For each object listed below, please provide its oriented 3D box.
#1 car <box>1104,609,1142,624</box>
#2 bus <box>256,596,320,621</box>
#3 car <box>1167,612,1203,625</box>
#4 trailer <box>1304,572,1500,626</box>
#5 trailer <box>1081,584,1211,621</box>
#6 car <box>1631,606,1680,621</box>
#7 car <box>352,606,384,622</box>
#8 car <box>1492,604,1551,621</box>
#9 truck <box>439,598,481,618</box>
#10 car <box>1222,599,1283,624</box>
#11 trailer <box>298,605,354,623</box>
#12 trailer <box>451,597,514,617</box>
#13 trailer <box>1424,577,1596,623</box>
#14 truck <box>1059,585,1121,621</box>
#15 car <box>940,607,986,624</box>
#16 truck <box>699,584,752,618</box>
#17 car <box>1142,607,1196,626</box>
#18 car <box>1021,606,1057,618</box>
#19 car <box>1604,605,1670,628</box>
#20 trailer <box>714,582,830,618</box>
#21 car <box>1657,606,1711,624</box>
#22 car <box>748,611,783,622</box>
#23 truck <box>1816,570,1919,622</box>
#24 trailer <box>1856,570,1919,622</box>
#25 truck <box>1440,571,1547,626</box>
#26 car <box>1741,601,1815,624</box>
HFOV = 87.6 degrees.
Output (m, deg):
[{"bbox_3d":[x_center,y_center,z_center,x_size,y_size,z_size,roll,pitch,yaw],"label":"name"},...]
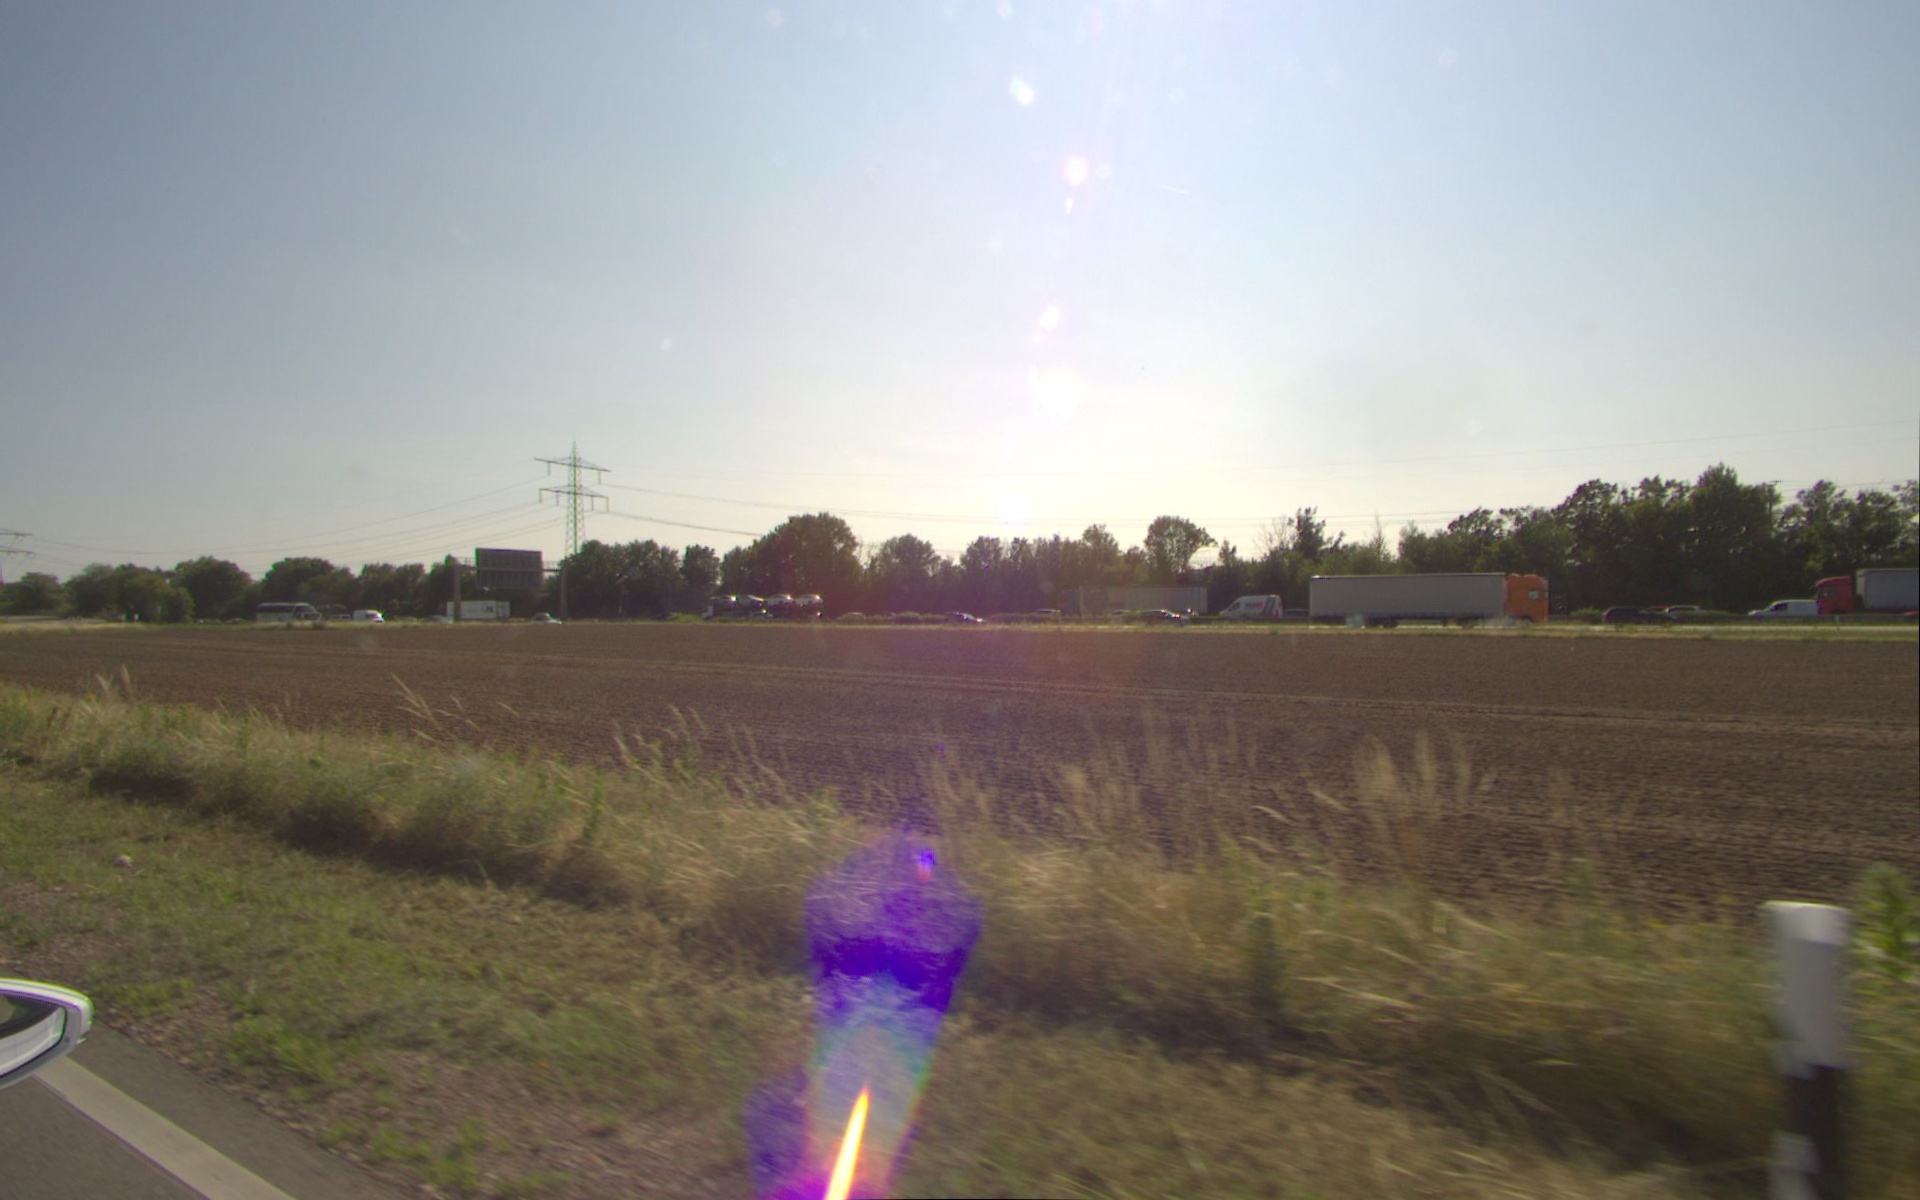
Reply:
[{"bbox_3d":[16.430,1.667,100.895,3.550,1.403,1.489,0,-1,32],"label":"car"},{"bbox_3d":[-108.725,1.366,161.952,14.325,3.854,2.460,0,0,29],"label":"bus"},{"bbox_3d":[21.787,1.765,96.861,3.135,1.166,1.393,0,-1,32],"label":"car"},{"bbox_3d":[33.739,0.013,76.929,13.518,3.899,3.098,0,-1,31],"label":"trailer"},{"bbox_3d":[19.531,0.233,106.041,13.436,3.783,3.065,1,0,33],"label":"trailer"},{"bbox_3d":[57.757,1.152,83.194,3.243,1.234,1.339,-1,-2,31],"label":"car"},{"bbox_3d":[-92.803,2.160,156.872,5.441,2.402,1.991,-1,-2,32],"label":"car"},{"bbox_3d":[46.762,1.025,83.414,4.185,1.403,1.848,0,-1,32],"label":"car"},{"bbox_3d":[-85.333,1.293,170.919,6.876,3.310,3.279,-1,0,31],"label":"truck"},{"bbox_3d":[27.479,1.078,94.157,5.161,2.228,1.902,0,-1,32],"label":"car"},{"bbox_3d":[-120.911,2.629,190.907,13.253,3.310,3.279,0,0,31],"label":"trailer"},{"bbox_3d":[-80.149,1.217,167.866,12.272,3.310,3.279,-1,0,31],"label":"trailer"},{"bbox_3d":[48.354,0.084,88.445,13.176,3.782,3.065,-1,-1,33],"label":"trailer"},{"bbox_3d":[14.191,0.302,109.535,6.000,3.783,3.065,1,0,33],"label":"truck"},{"bbox_3d":[0.301,1.502,96.405,4.136,1.563,1.700,-1,-2,32],"label":"car"},{"bbox_3d":[-32.386,0.130,138.411,6.606,4.512,3.416,-1,0,30],"label":"truck"},{"bbox_3d":[18.834,1.532,90.346,4.411,1.633,1.902,-1,-2,34],"label":"car"},{"bbox_3d":[8.304,1.276,104.876,3.530,1.166,1.392,0,-1,32],"label":"car"},{"bbox_3d":[48.595,1.205,71.975,3.838,1.595,1.991,-1,-2,32],"label":"car"},{"bbox_3d":[-25.375,0.025,134.370,17.301,4.512,3.416,-1,0,30],"label":"trailer"},{"bbox_3d":[55.993,1.180,77.465,3.242,1.300,1.339,-1,-2,30],"label":"car"},{"bbox_3d":[-24.416,2.084,125.600,4.185,1.403,1.848,0,-1,32],"label":"car"},{"bbox_3d":[68.990,-0.268,75.956,5.784,3.782,2.940,0,0,32],"label":"truck"},{"bbox_3d":[74.338,-0.323,72.624,13.583,3.782,2.940,-1,-1,32],"label":"trailer"},{"bbox_3d":[39.189,-0.038,73.610,6.849,3.899,3.098,0,-1,31],"label":"truck"},{"bbox_3d":[60.264,0.922,73.865,4.034,1.659,1.701,-1,-2,31],"label":"car"}]
